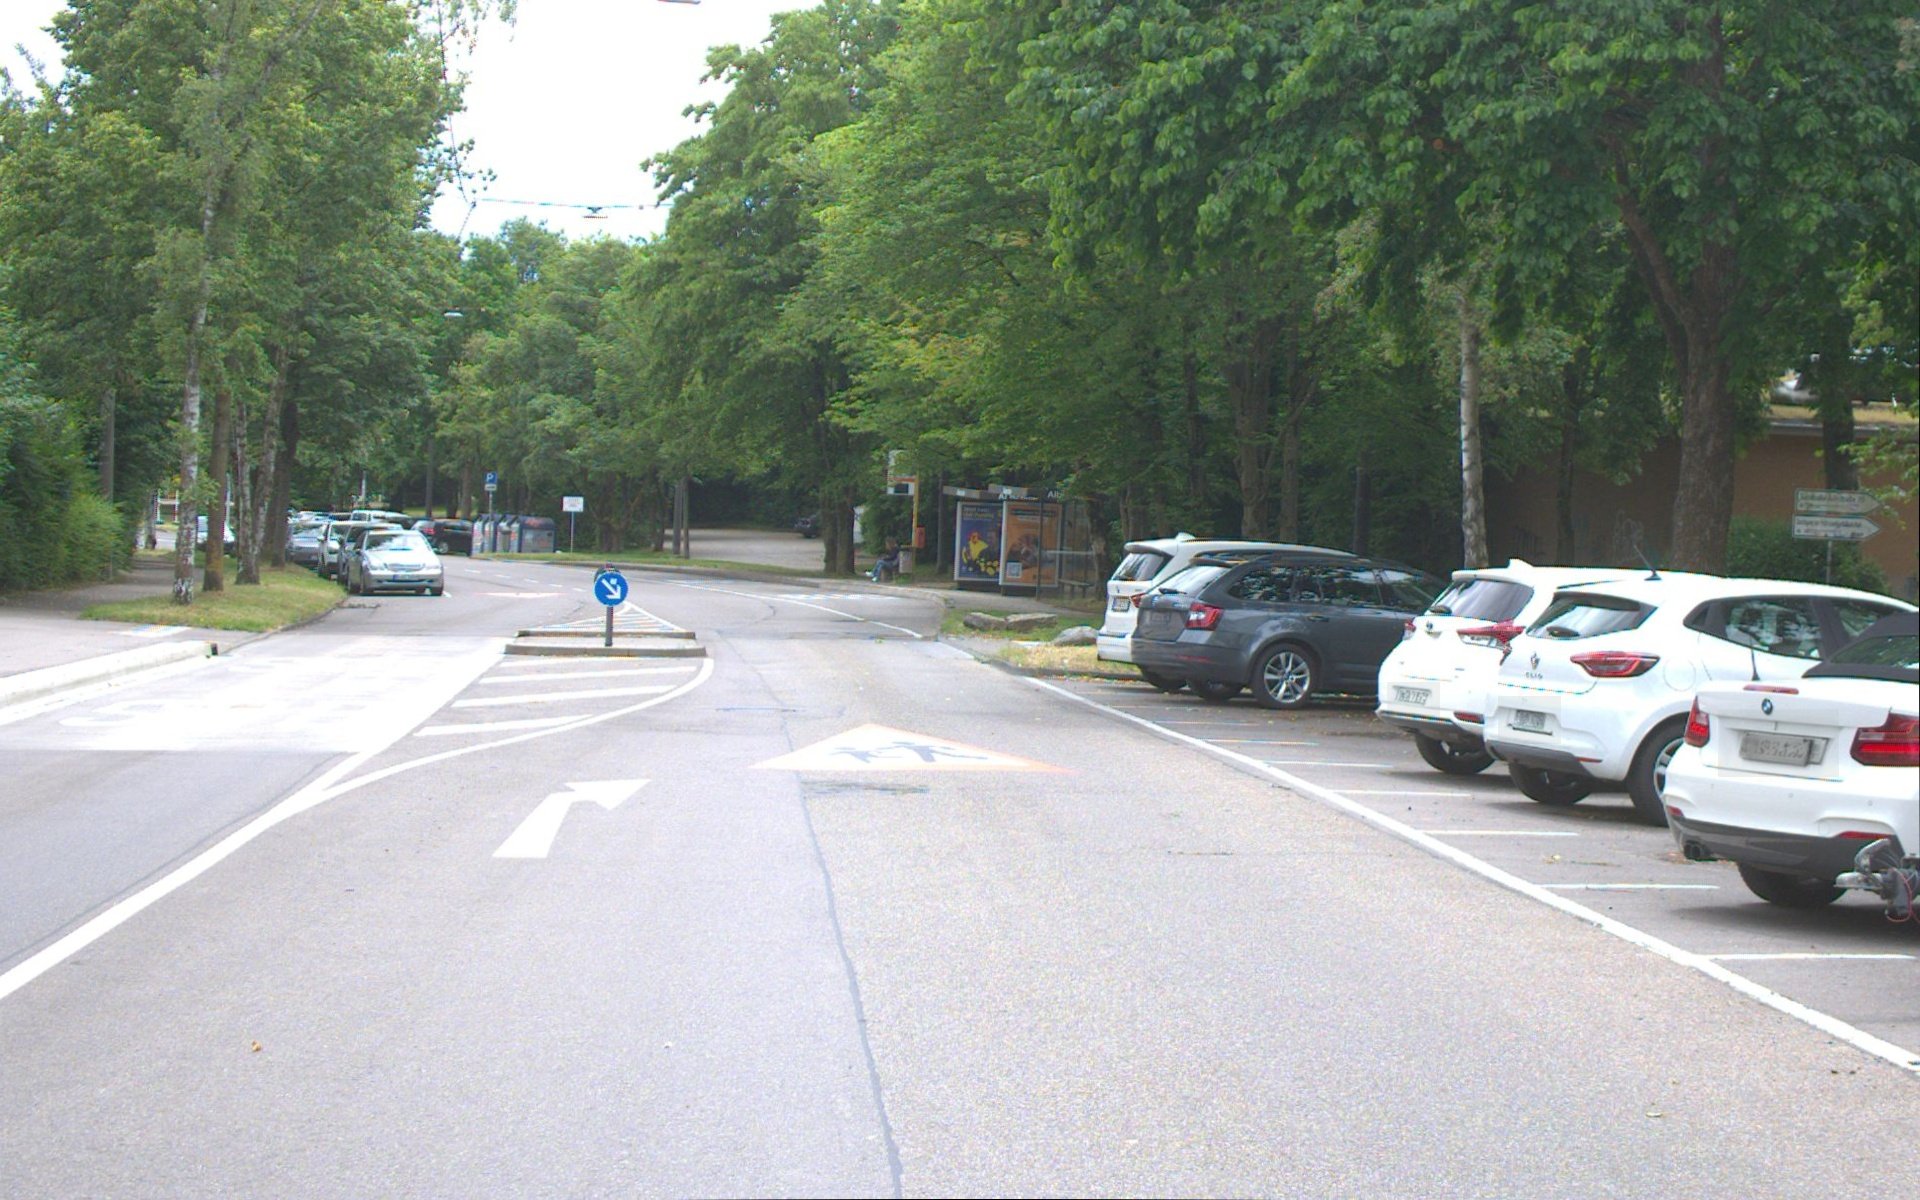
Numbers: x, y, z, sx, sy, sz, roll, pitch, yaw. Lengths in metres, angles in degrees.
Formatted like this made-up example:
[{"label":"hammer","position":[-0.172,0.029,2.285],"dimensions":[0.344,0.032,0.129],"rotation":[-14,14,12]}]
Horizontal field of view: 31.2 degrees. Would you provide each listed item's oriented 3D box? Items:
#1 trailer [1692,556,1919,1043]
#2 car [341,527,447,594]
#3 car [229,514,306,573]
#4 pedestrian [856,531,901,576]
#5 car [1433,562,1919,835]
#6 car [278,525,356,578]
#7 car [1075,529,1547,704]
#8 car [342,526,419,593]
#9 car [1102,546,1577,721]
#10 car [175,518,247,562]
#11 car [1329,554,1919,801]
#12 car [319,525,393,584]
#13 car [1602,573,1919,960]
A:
[{"label":"trailer","position":[4.814,0.692,12.227],"dimensions":[3.986,1.547,1.659],"rotation":[2,1,-19]},{"label":"car","position":[-12.438,-0.897,75.395],"dimensions":[1.735,1.411,4.474],"rotation":[0,1,-17]},{"label":"car","position":[-22.877,-1.884,113.503],"dimensions":[1.857,1.902,5.085],"rotation":[1,1,-19]},{"label":"pedestrian","position":[-2.142,-1.225,90.767],"dimensions":[1.063,1.178,0.580],"rotation":[1,1,-16]},{"label":"car","position":[5.073,0.611,20.803],"dimensions":[3.986,1.459,1.796],"rotation":[3,1,-26]},{"label":"car","position":[-19.458,-1.481,103.870],"dimensions":[1.865,1.533,4.228],"rotation":[1,1,-17]},{"label":"car","position":[3.653,0.159,36.057],"dimensions":[4.466,1.580,1.907],"rotation":[3,0,-14]},{"label":"car","position":[-13.725,-0.966,81.291],"dimensions":[1.735,1.532,4.191],"rotation":[0,1,-11]},{"label":"car","position":[3.651,0.319,33.298],"dimensions":[4.131,1.459,1.799],"rotation":[3,0,-15]},{"label":"car","position":[-28.125,-2.254,129.028],"dimensions":[1.804,1.557,4.268],"rotation":[-3,2,-23]},{"label":"car","position":[4.761,0.528,23.432],"dimensions":[3.985,1.459,1.867],"rotation":[3,0,-19]},{"label":"car","position":[-16.374,-1.247,93.074],"dimensions":[1.735,1.573,4.143],"rotation":[0,1,-14]},{"label":"car","position":[5.032,0.724,15.026],"dimensions":[3.986,1.459,1.851],"rotation":[3,1,-26]}]
